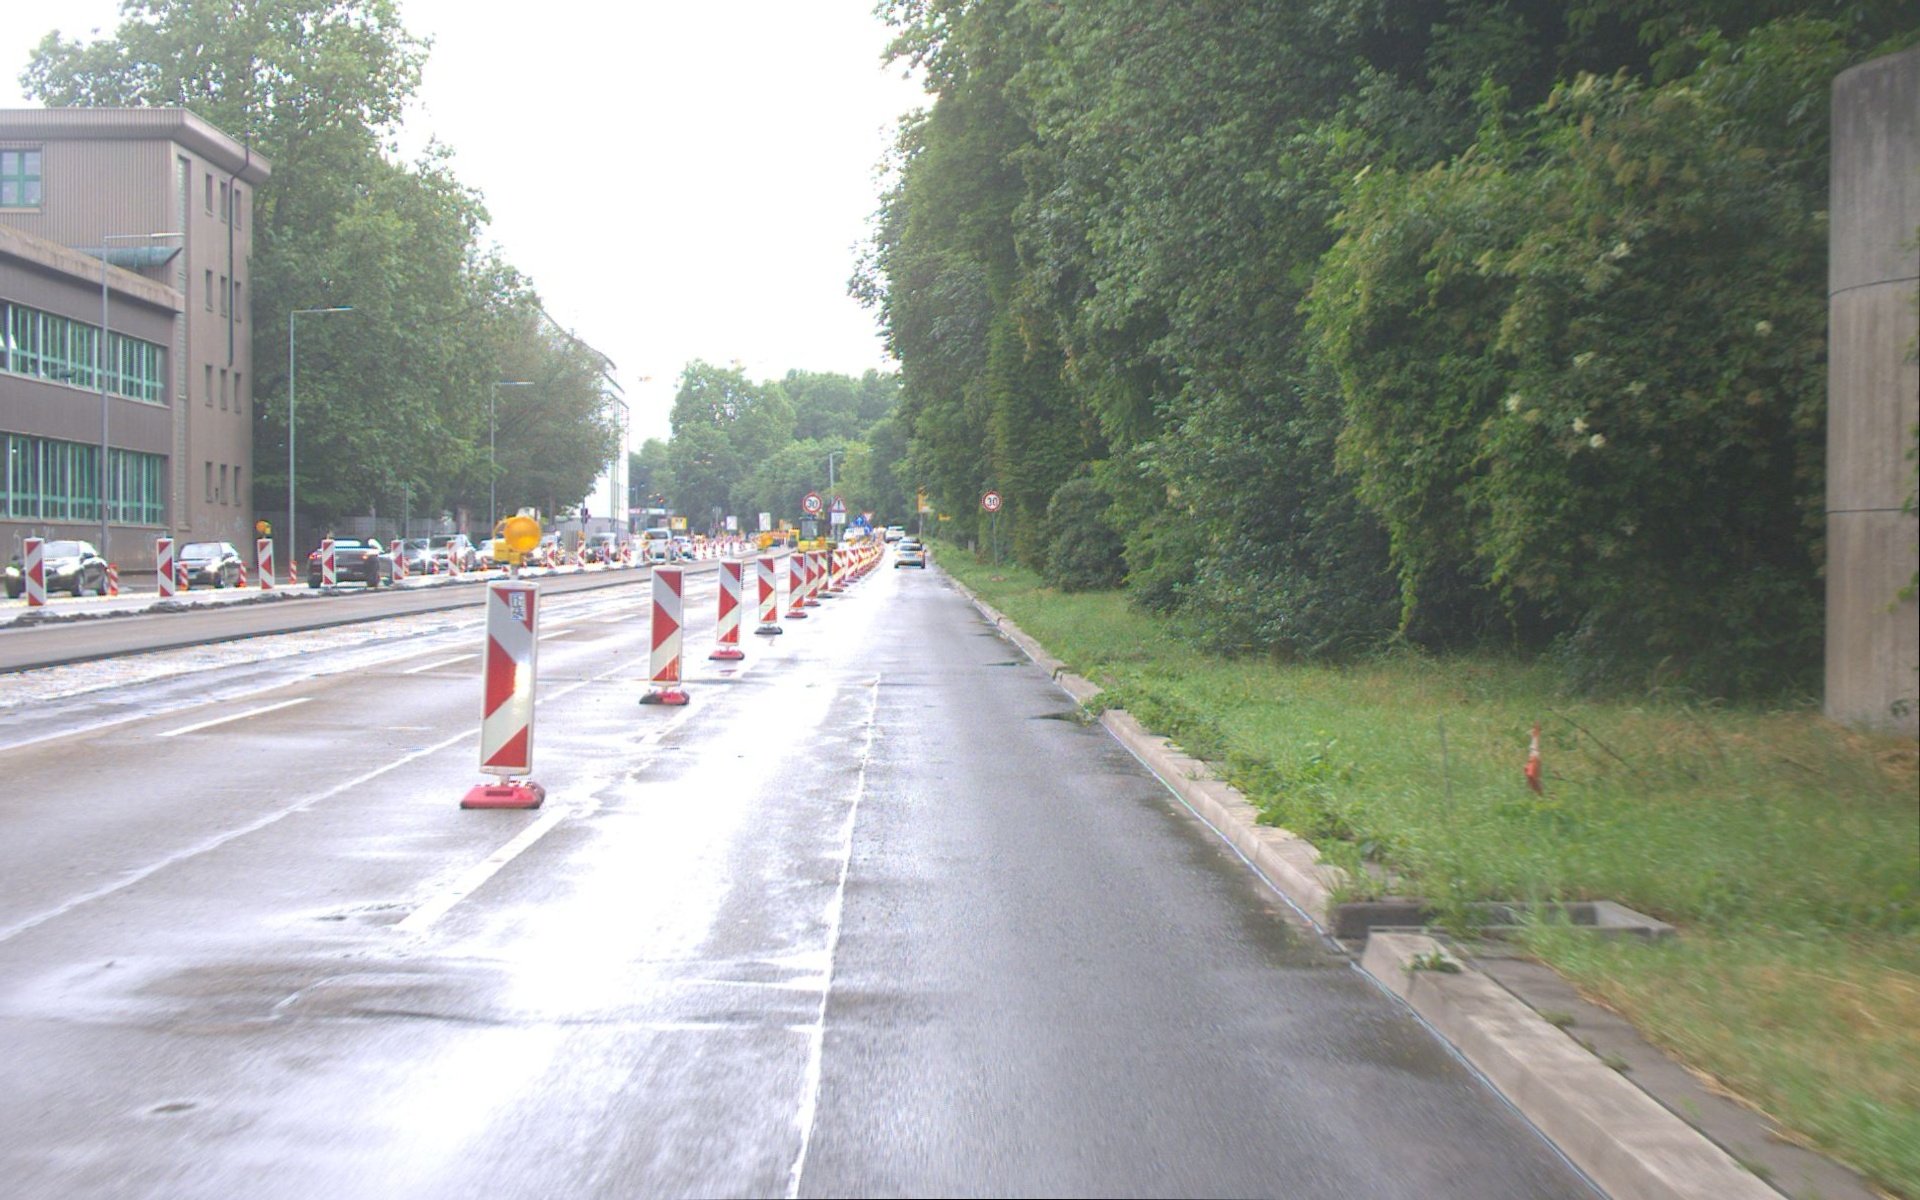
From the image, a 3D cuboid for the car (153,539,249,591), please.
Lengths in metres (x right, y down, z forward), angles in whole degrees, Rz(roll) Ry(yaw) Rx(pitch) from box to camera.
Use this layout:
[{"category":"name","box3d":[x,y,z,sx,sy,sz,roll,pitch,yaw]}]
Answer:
[{"category":"car","box3d":[-22.512,-1.045,102.086,2.046,1.449,4.765,1,1,-3]}]

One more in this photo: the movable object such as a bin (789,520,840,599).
[{"category":"movable object such as a bin","box3d":[-6.433,-1.785,152.178,1.993,3.356,5.982,1,1,-1]}]

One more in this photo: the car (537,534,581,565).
[{"category":"car","box3d":[-20.645,-2.577,177.134,1.803,1.529,3.992,1,1,-1]}]

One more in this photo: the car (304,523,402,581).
[{"category":"car","box3d":[-16.508,-1.298,93.634,1.993,1.514,4.000,1,1,-1]}]

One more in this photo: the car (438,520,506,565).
[{"category":"car","box3d":[-19.714,-2.298,139.021,1.989,1.762,4.674,1,1,1]}]

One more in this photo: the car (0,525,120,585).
[{"category":"car","box3d":[-22.368,-1.130,85.571,1.993,1.424,4.265,1,1,-2]}]

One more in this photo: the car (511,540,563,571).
[{"category":"car","box3d":[-20.731,-2.172,168.698,1.894,1.497,4.516,1,1,1]}]

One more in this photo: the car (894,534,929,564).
[{"category":"car","box3d":[-2.817,-2.942,199.886,1.993,1.667,4.000,1,1,-1]}]
